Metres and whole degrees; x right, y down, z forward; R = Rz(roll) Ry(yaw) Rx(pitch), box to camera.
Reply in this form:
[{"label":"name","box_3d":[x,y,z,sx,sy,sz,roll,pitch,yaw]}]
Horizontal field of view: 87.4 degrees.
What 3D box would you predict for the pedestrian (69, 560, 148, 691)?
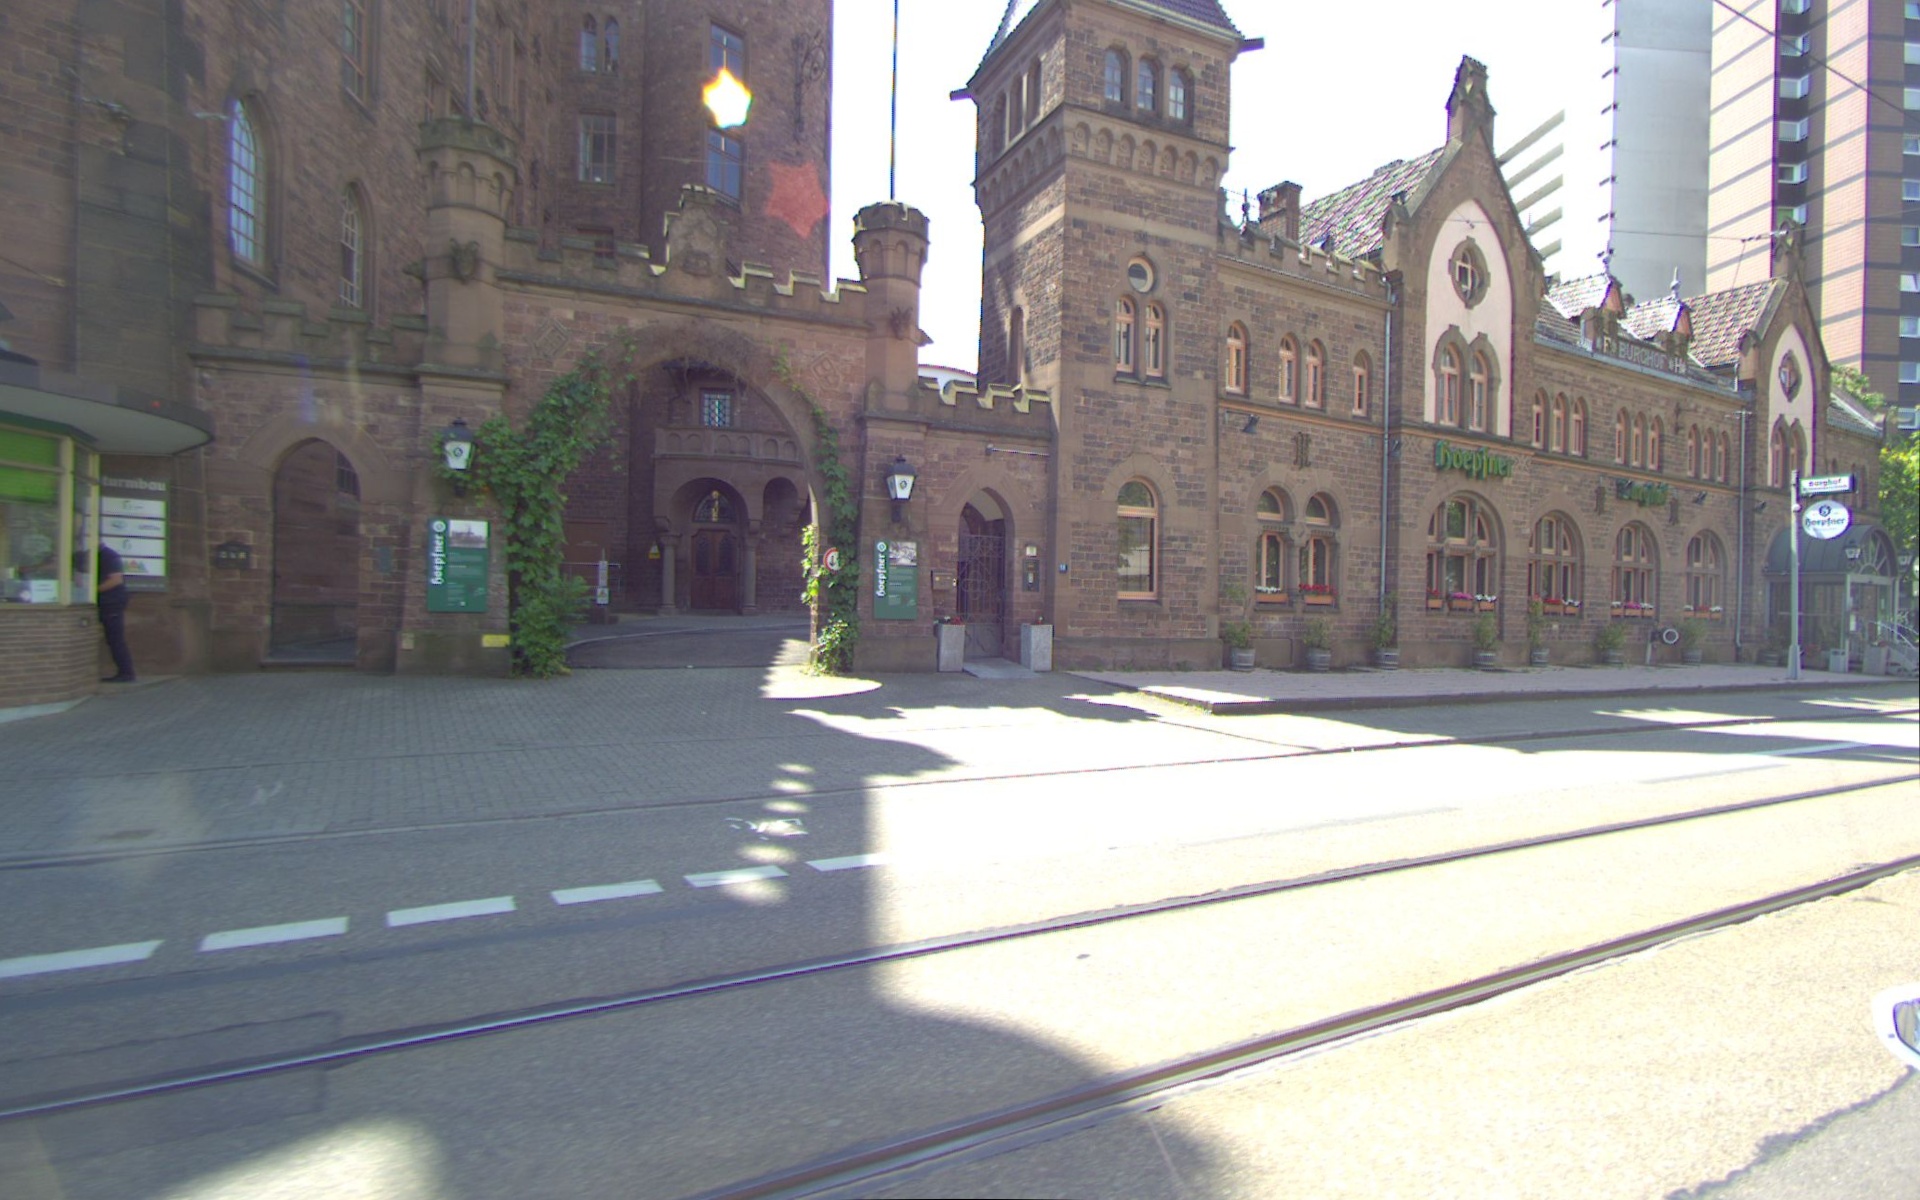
[{"label":"pedestrian","box_3d":[-9.492,0.277,11.207,0.576,1.419,0.419,2,1,-30]}]
